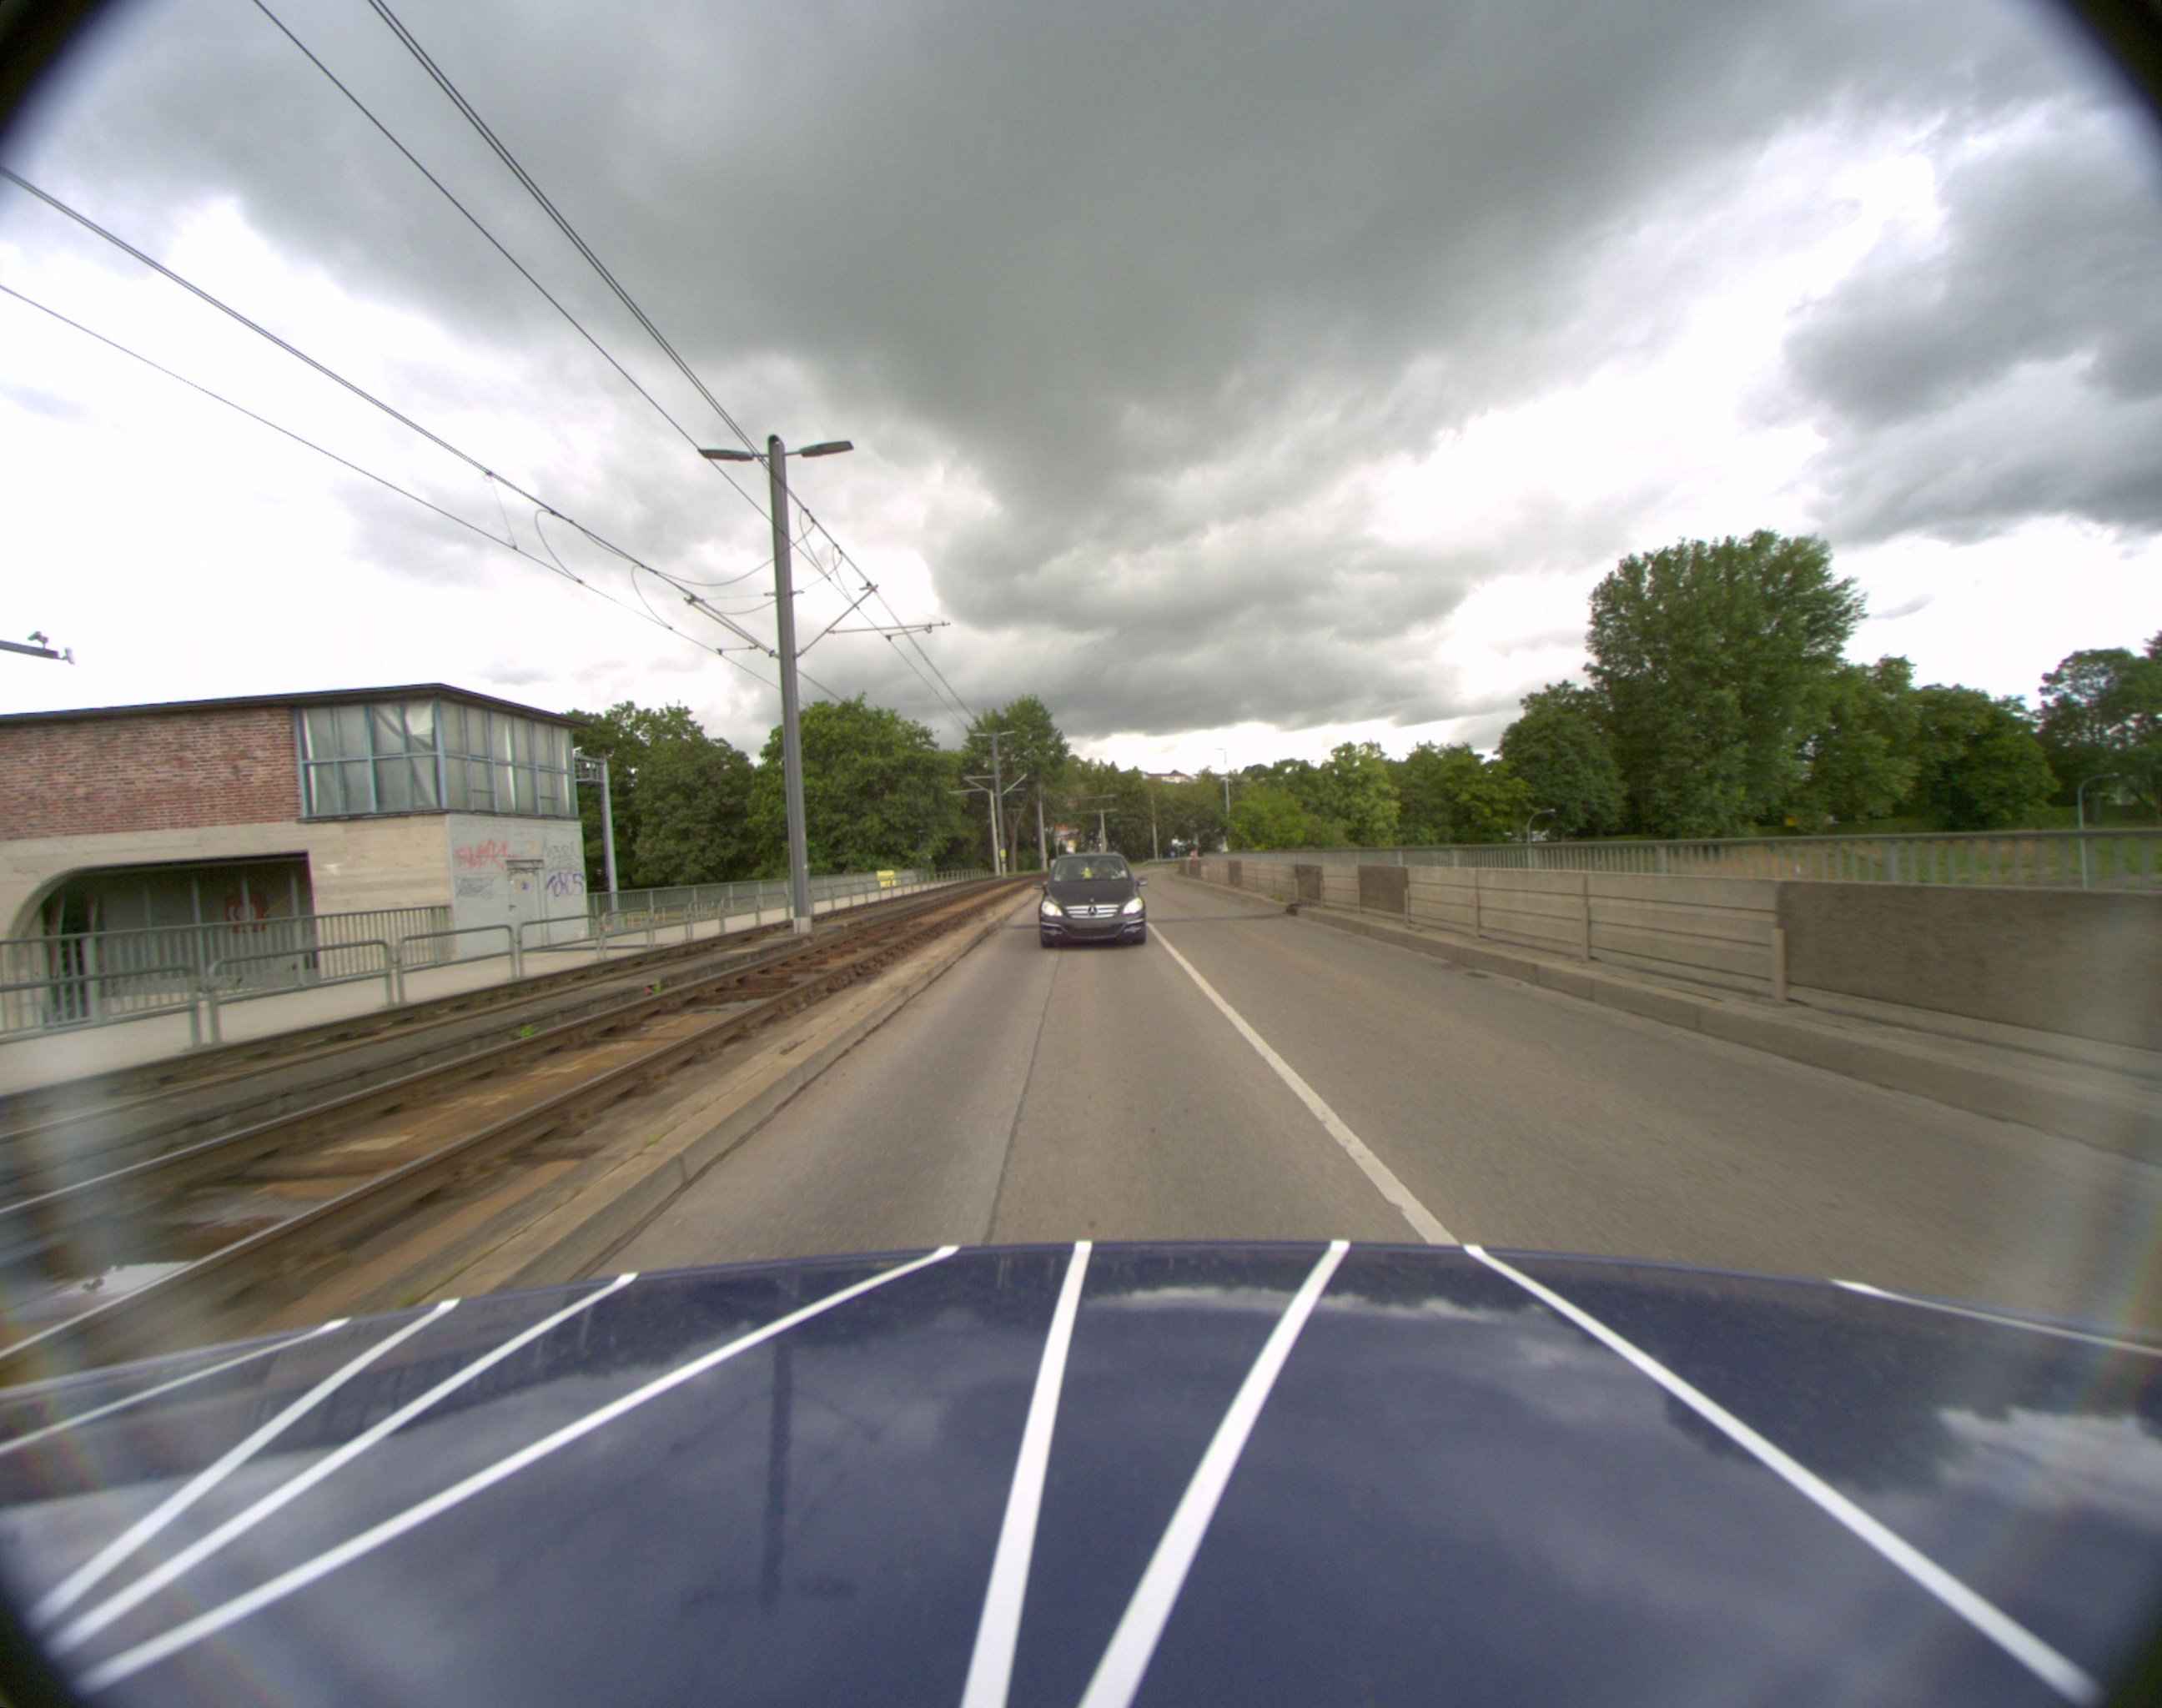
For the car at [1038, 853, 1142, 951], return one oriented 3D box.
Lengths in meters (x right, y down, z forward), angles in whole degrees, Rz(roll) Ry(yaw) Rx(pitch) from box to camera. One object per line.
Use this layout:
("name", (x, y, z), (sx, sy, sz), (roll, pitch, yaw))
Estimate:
("car", (0.163, 0.811, 15.091), (1.711, 1.573, 4.442), (-2, 0, 0))
